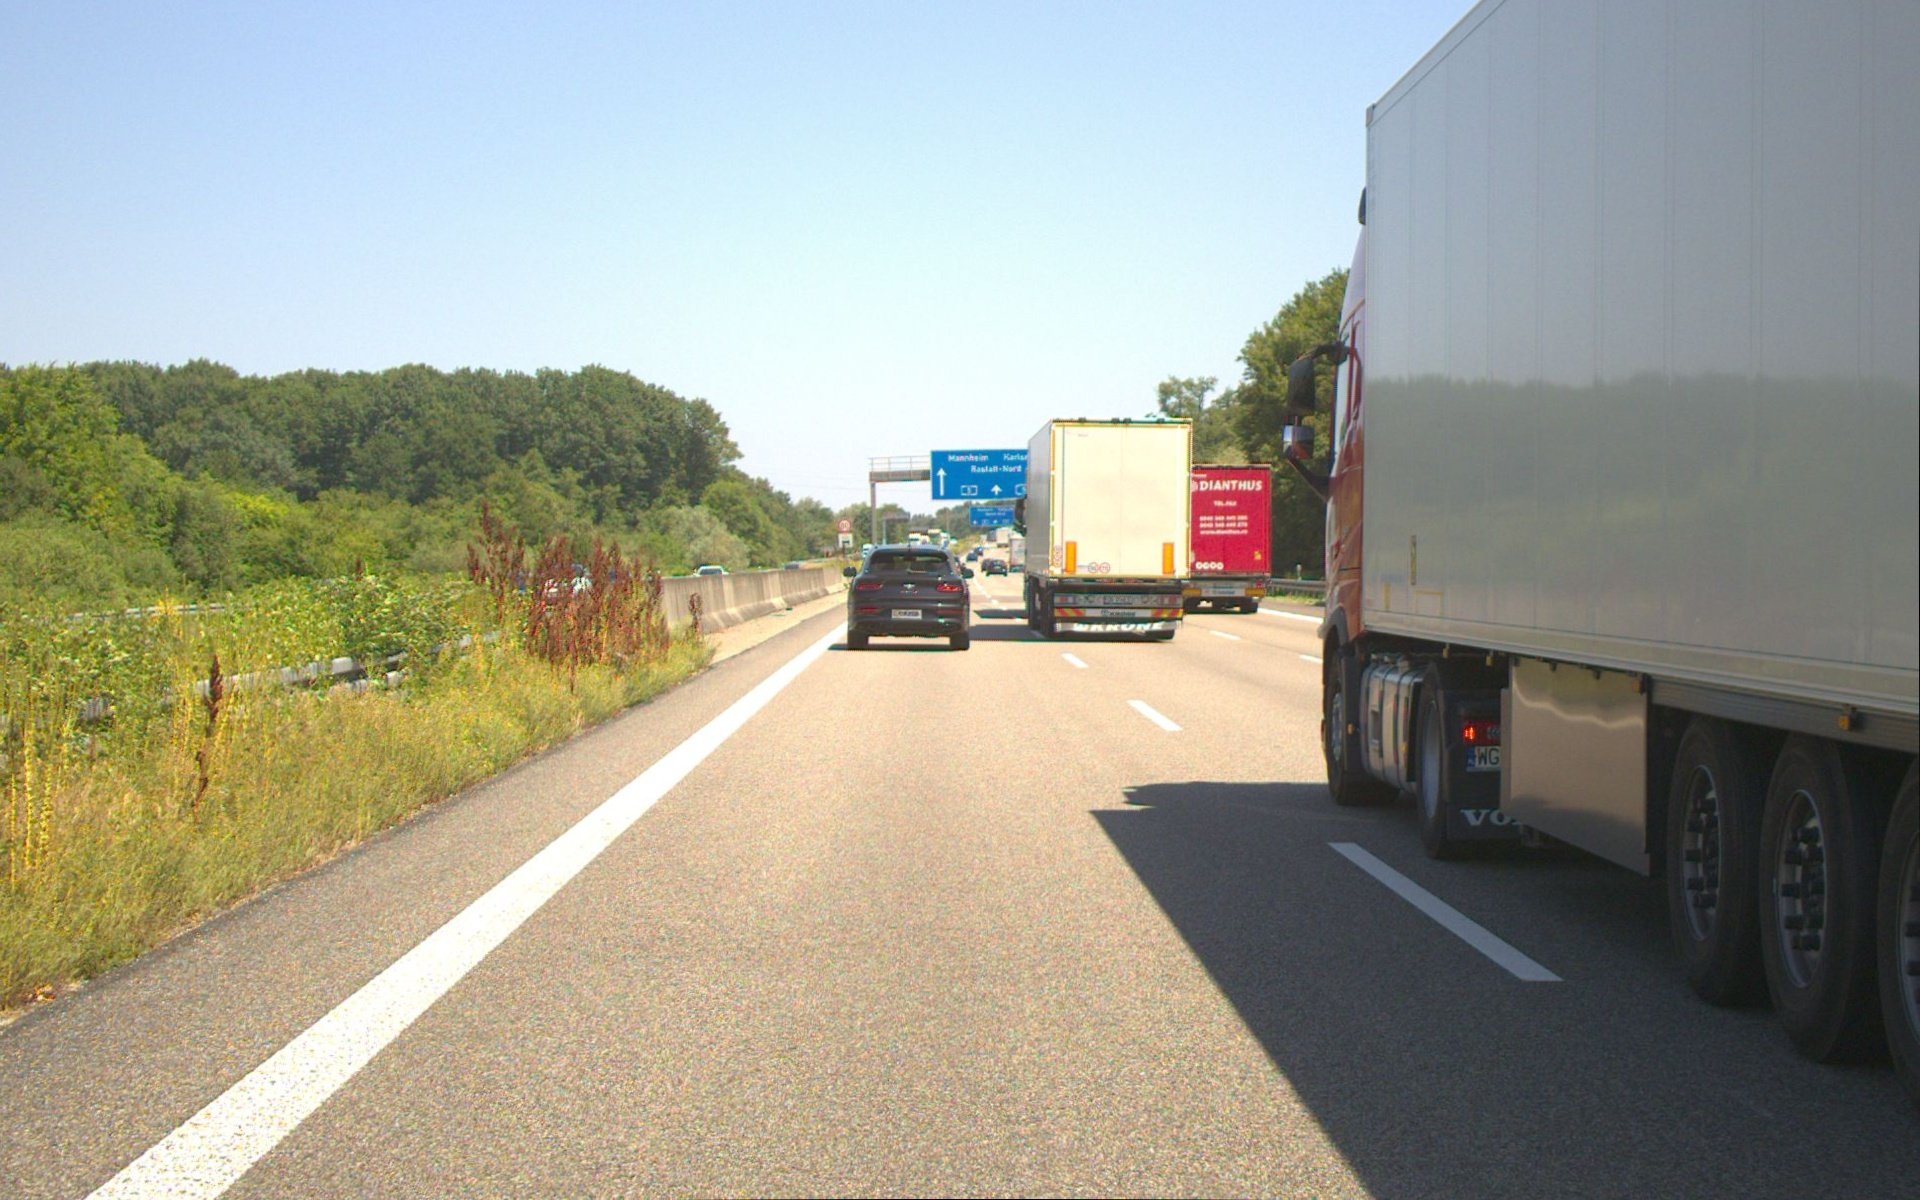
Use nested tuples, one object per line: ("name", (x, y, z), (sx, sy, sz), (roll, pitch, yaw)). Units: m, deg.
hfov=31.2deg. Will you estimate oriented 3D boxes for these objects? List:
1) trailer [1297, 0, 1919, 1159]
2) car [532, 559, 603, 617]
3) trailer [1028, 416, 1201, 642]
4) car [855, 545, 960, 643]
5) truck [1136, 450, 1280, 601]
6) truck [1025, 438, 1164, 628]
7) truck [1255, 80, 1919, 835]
("trailer", (3.727, -0.704, 13.721), (2.937, 4.004, 16.201), (1, 1, -1))
("car", (-14.484, -0.466, 127.194), (1.993, 2.007, 4.939), (-3, 1, 0))
("trailer", (2.888, -1.356, 67.733), (2.795, 4.021, 12.568), (0, 1, 0))
("car", (-0.852, -0.119, 56.839), (1.660, 1.544, 3.783), (1, 1, -1))
("truck", (7.153, -2.124, 100.917), (3.055, 4.092, 13.219), (1, 1, -1))
("truck", (2.899, -1.459, 75.861), (2.800, 3.993, 6.021), (0, 1, 0))
("truck", (3.628, -0.788, 21.332), (2.941, 3.972, 6.102), (1, 1, -1))
